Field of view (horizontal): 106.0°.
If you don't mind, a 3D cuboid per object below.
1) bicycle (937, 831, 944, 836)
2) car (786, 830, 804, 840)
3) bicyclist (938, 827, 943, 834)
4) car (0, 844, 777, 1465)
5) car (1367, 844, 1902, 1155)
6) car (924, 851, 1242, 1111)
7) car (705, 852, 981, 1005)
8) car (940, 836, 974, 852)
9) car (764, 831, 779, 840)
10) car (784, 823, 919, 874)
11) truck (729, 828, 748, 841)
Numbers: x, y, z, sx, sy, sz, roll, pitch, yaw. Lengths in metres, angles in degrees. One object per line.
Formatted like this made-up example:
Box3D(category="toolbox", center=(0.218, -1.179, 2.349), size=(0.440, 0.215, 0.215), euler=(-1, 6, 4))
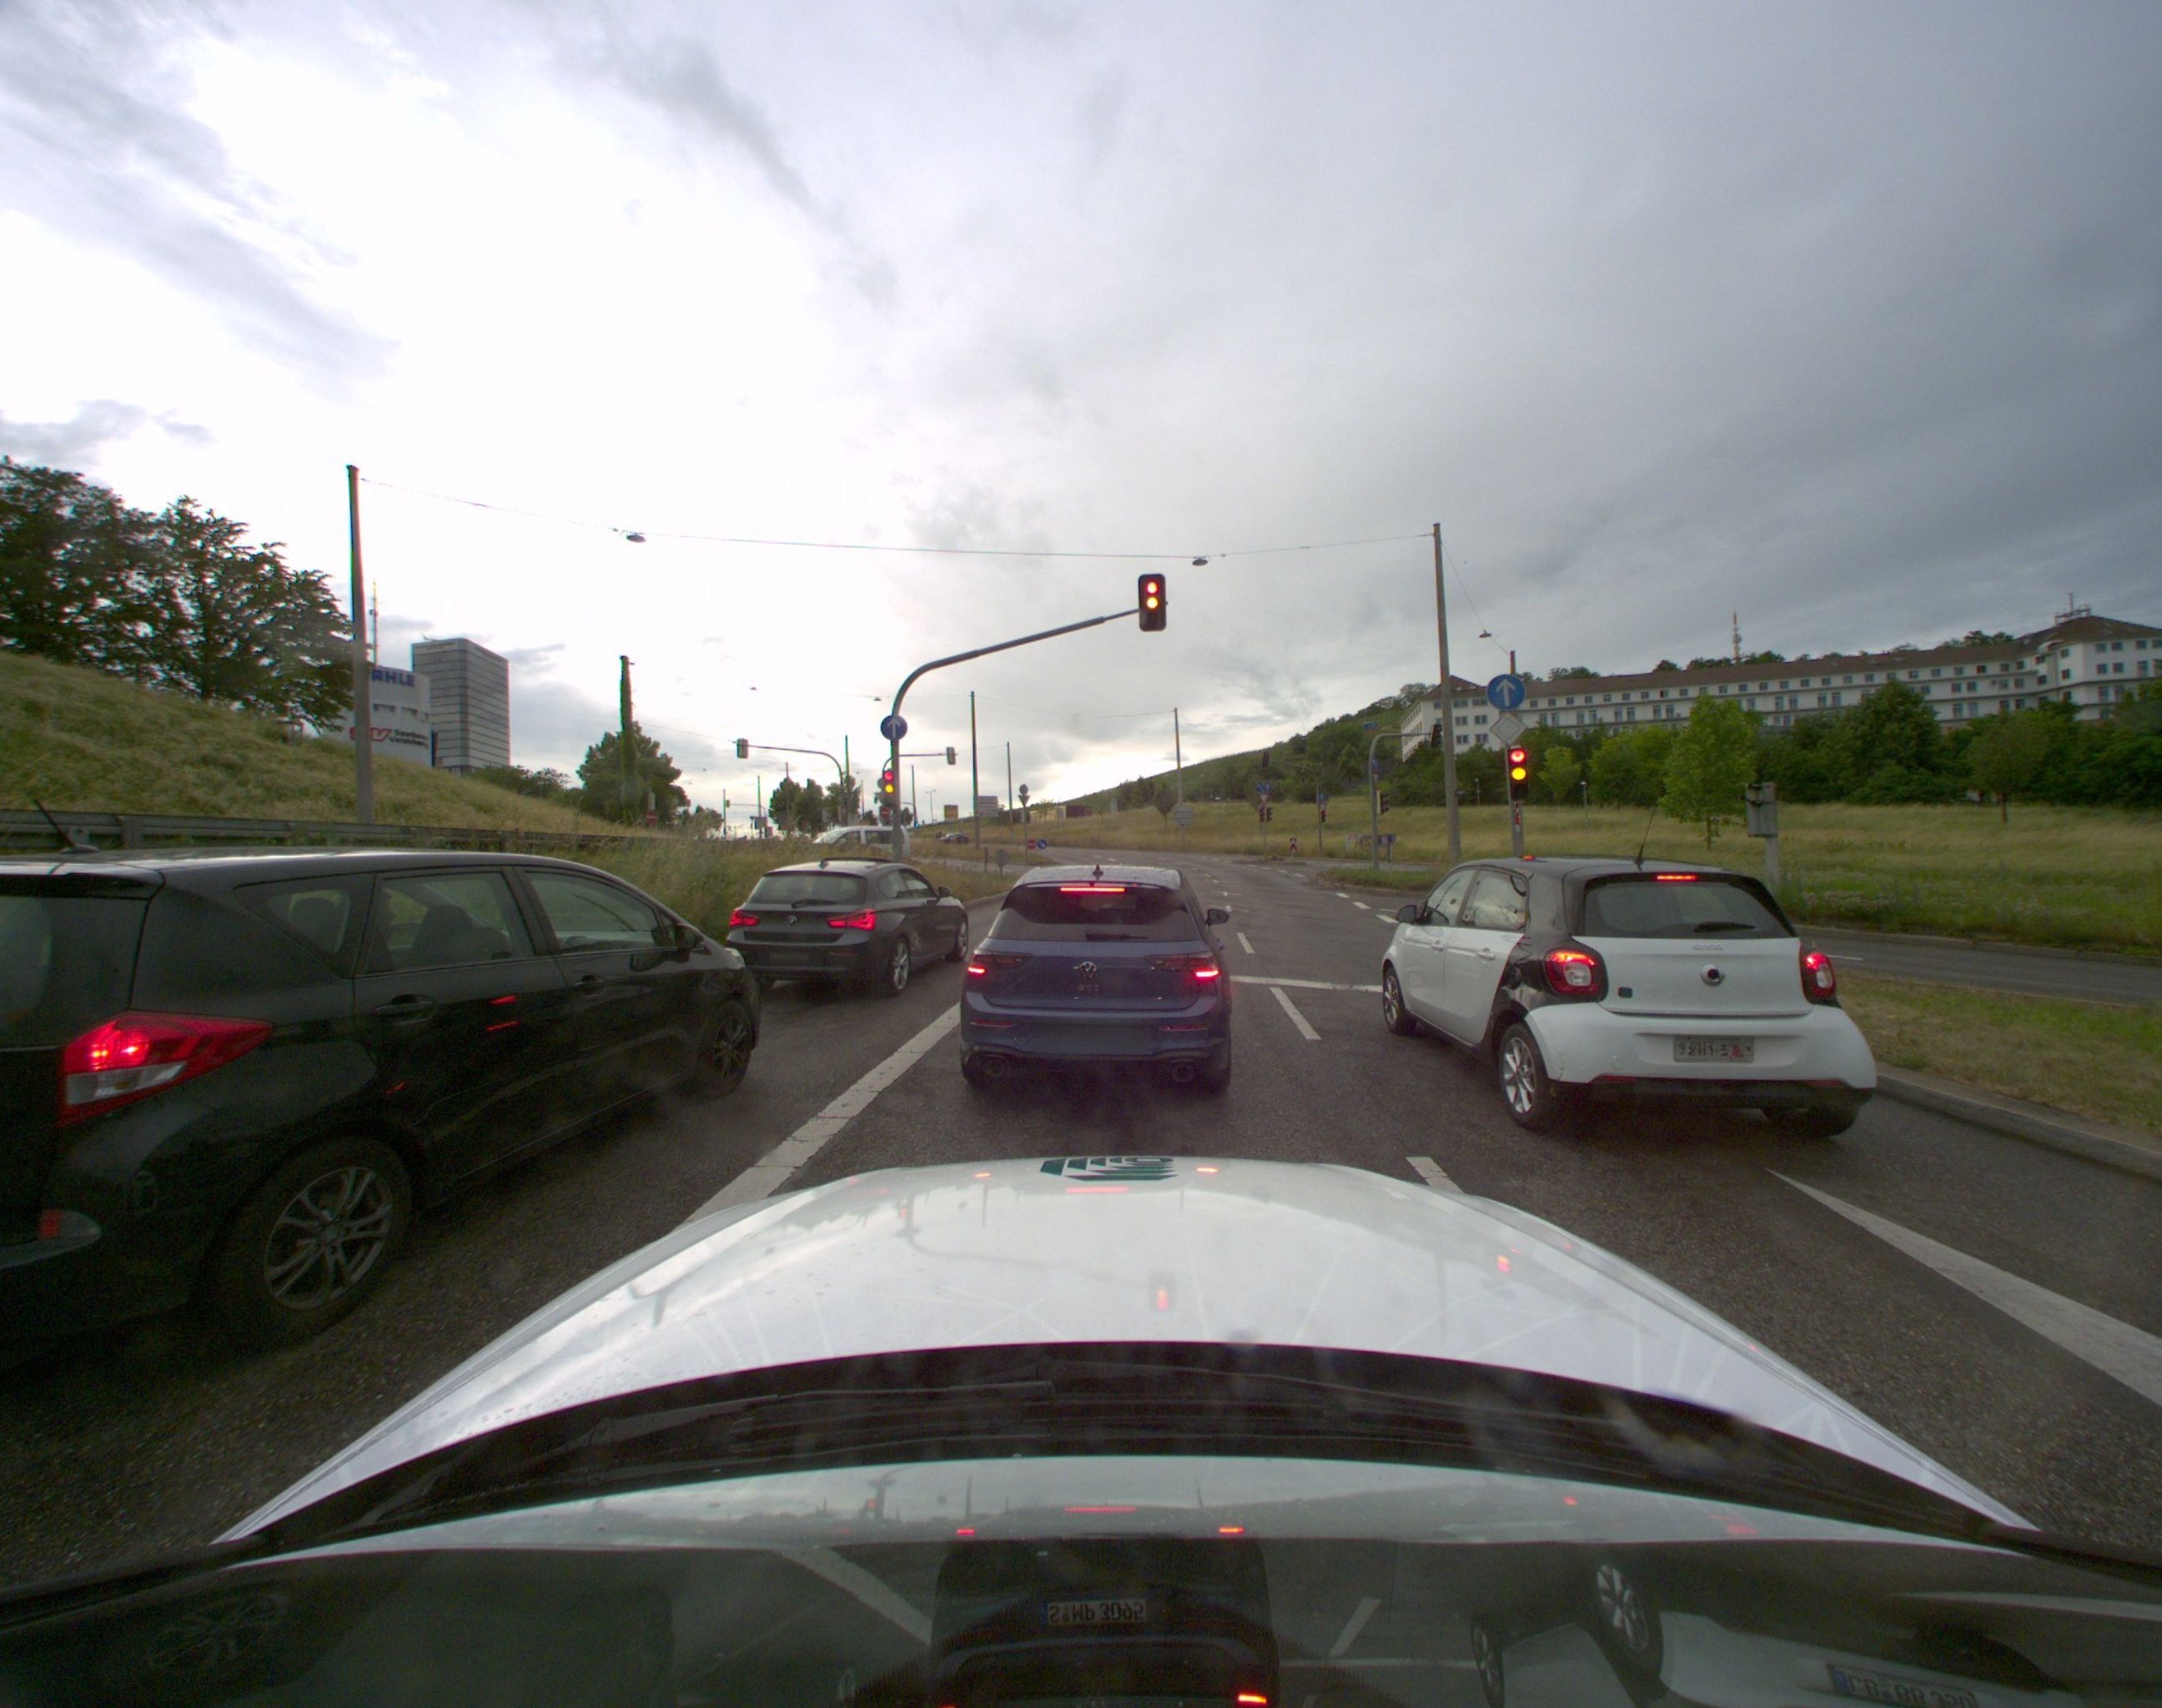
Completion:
Box3D(category="bicycle", center=(-21.294, -3.115, 123.424), size=(0.521, 0.775, 1.605), euler=(1, 0, -31))
Box3D(category="car", center=(-51.695, -3.412, 146.992), size=(2.008, 1.477, 4.455), euler=(0, -1, -33))
Box3D(category="bicyclist", center=(-21.268, -3.586, 123.457), size=(0.527, 1.046, 0.574), euler=(2, 0, -33))
Box3D(category="car", center=(-3.120, 0.718, 3.922), size=(1.634, 1.504, 3.783), euler=(1, 0, 4))
Box3D(category="car", center=(3.302, 0.732, 5.727), size=(1.649, 1.503, 3.456), euler=(-1, -1, 6))
Box3D(category="car", center=(0.234, 0.722, 6.569), size=(1.815, 1.460, 3.816), euler=(-1, 0, 7))
Box3D(category="car", center=(-2.589, 0.732, 10.004), size=(1.693, 1.459, 4.123), euler=(-1, 0, 7))
Box3D(category="car", center=(-13.139, -1.036, 86.062), size=(2.005, 1.618, 4.808), euler=(0, 0, -28))
Box3D(category="car", center=(-67.995, -4.053, 179.014), size=(2.143, 1.794, 4.694), euler=(1, 0, -31))
Box3D(category="car", center=(-8.750, -0.177, 31.344), size=(4.724, 1.850, 1.800), euler=(0, -1, -42))
Box3D(category="truck", center=(-88.894, -5.117, 211.319), size=(3.282, 3.074, 6.109), euler=(2, 0, -36))
